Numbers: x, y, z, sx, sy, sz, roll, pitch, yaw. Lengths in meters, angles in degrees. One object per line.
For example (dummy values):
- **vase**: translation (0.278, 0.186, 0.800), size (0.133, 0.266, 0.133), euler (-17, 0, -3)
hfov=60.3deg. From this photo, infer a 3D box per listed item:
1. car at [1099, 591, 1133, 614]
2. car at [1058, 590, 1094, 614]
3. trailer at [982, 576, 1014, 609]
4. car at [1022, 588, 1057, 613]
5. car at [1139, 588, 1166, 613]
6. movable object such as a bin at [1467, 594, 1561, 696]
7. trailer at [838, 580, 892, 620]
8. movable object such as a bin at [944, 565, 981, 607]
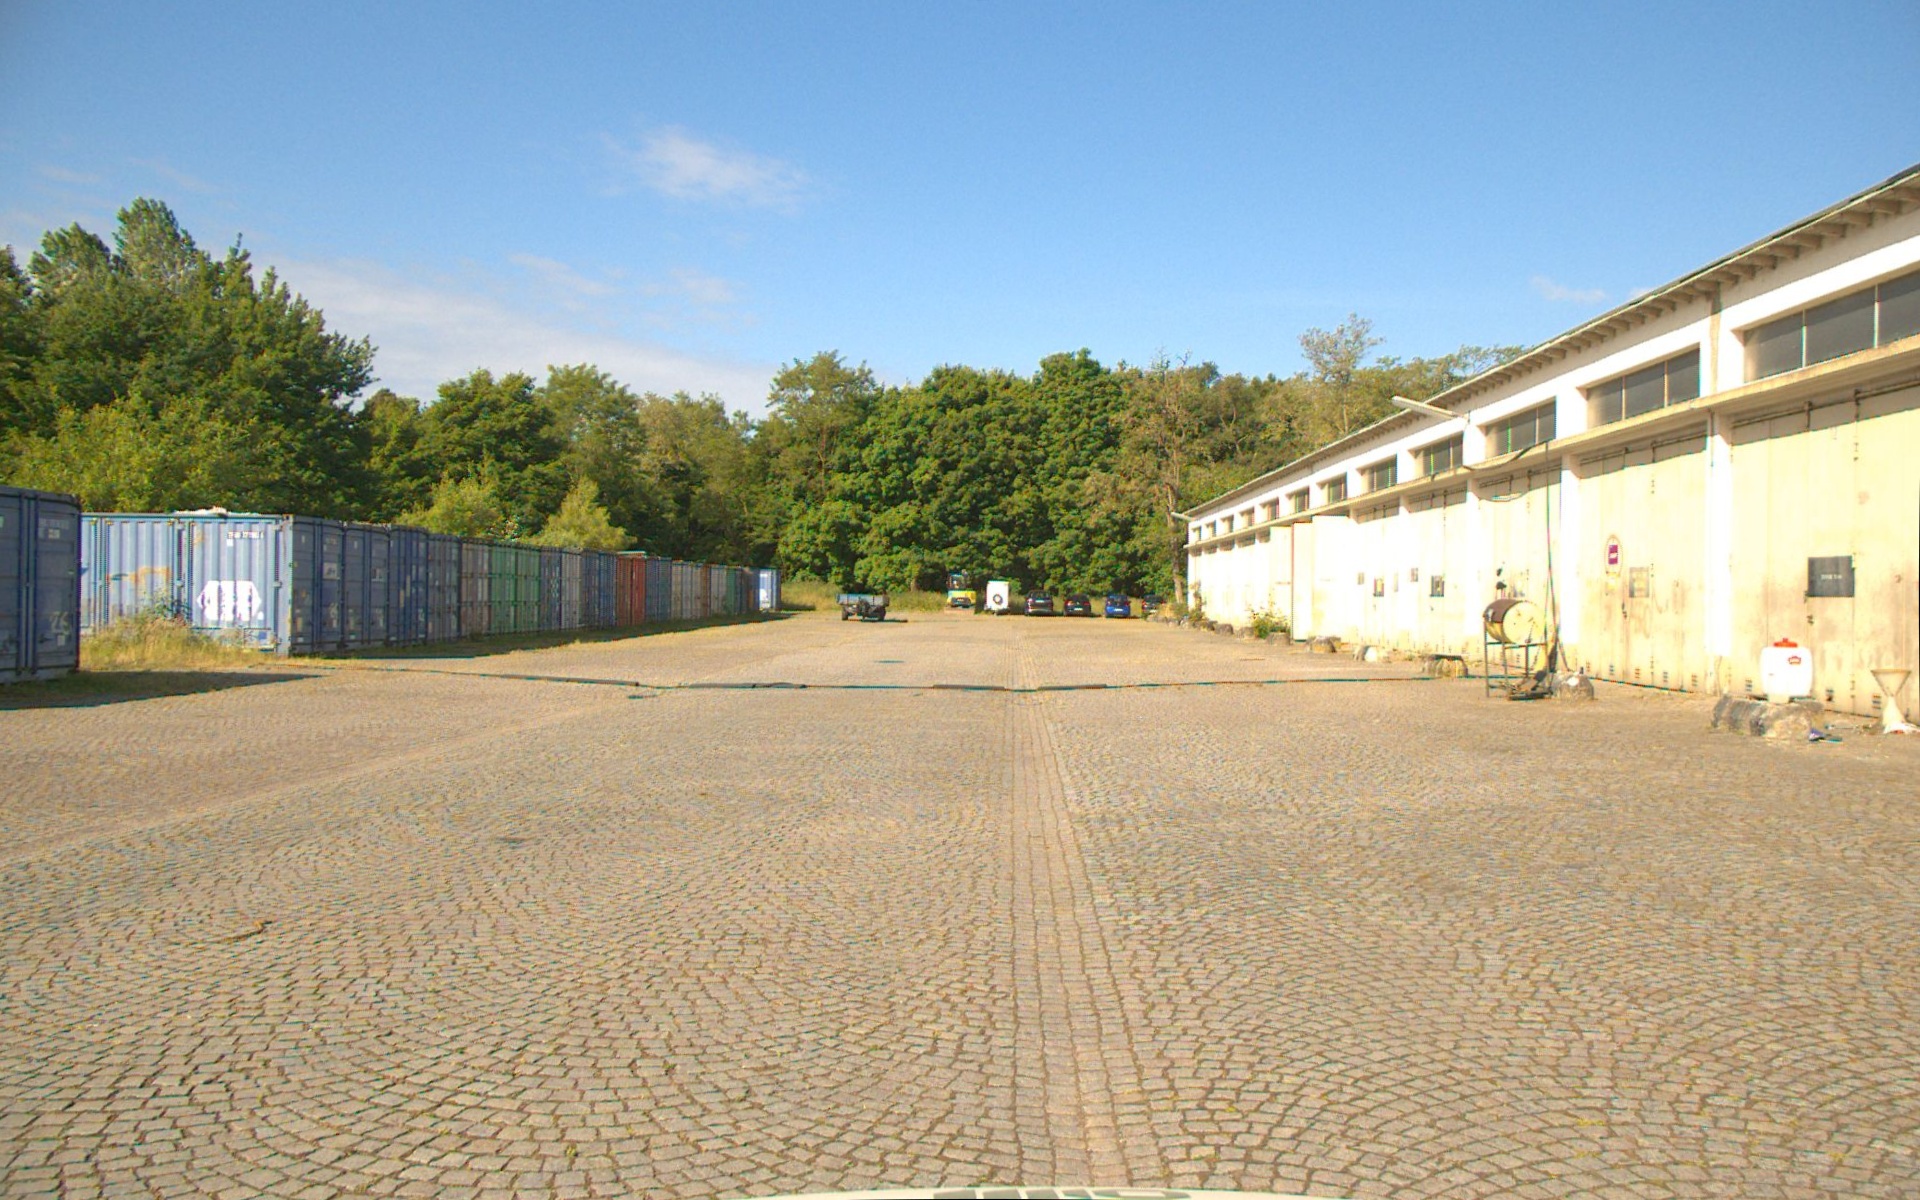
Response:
- **car**: translation (10.055, 0.123, 106.128), size (1.951, 1.445, 4.003), euler (0, 0, 8)
- **car**: translation (7.470, 0.101, 106.145), size (1.951, 1.488, 4.003), euler (0, 0, 8)
- **trailer**: translation (2.516, -0.484, 107.952), size (1.756, 2.126, 3.974), euler (0, 0, 6)
- **car**: translation (5.102, 0.026, 105.982), size (1.822, 1.613, 4.003), euler (0, 0, 8)
- **car**: translation (12.513, 0.034, 107.438), size (1.649, 1.591, 4.003), euler (0, 0, 8)
- **movable object such as a bin**: translation (7.570, 0.599, 22.666), size (0.807, 1.355, 1.279), euler (0, 0, -3)
- **trailer**: translation (-5.075, -0.010, 89.027), size (2.357, 2.048, 4.175), euler (2, 0, 4)
- **movable object such as a bin**: translation (0.179, -0.908, 108.288), size (1.951, 2.663, 4.003), euler (2, 0, 6)
